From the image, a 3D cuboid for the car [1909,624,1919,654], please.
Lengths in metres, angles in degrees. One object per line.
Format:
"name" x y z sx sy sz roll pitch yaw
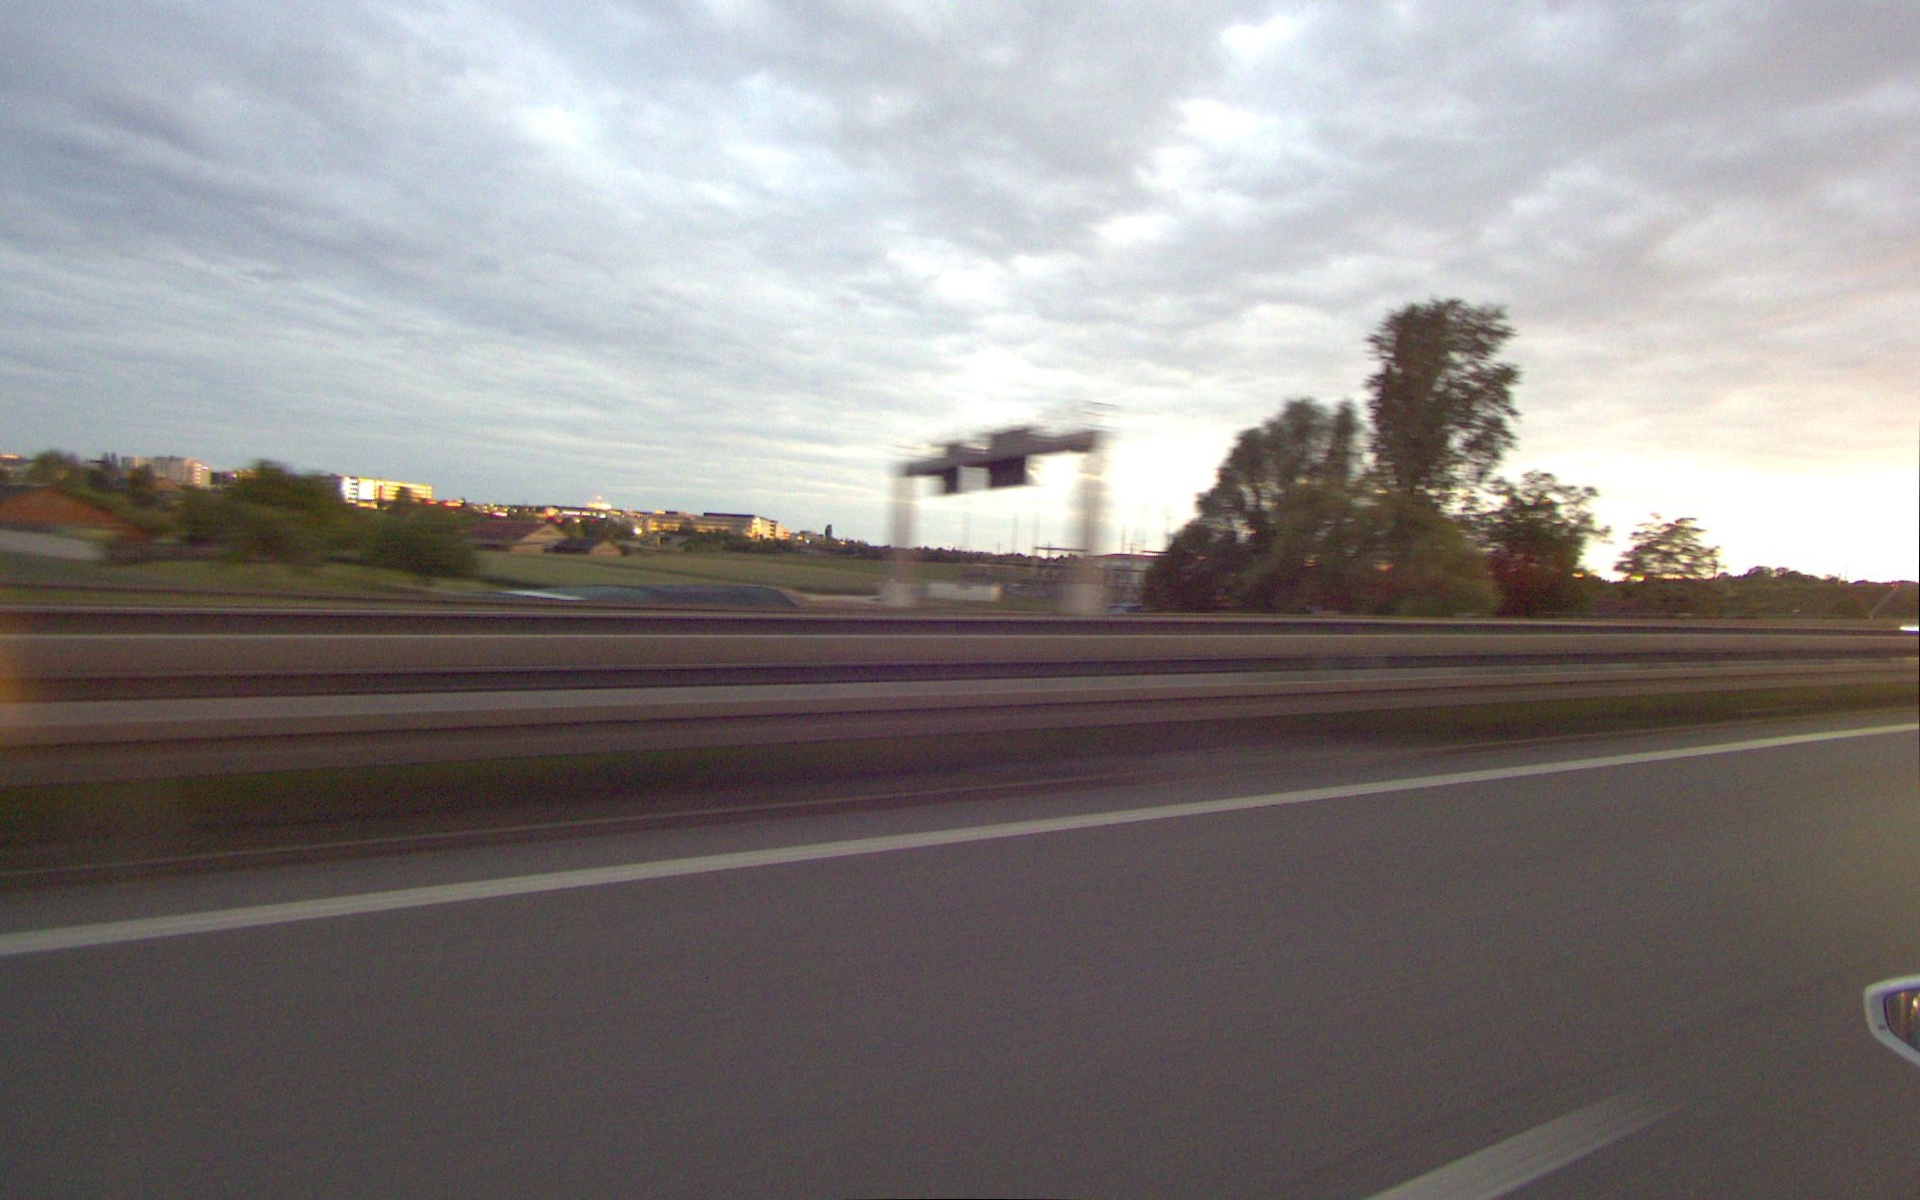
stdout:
"car" 47.229 1.867 47.696 4.811 1.376 1.983 1 1 -32
